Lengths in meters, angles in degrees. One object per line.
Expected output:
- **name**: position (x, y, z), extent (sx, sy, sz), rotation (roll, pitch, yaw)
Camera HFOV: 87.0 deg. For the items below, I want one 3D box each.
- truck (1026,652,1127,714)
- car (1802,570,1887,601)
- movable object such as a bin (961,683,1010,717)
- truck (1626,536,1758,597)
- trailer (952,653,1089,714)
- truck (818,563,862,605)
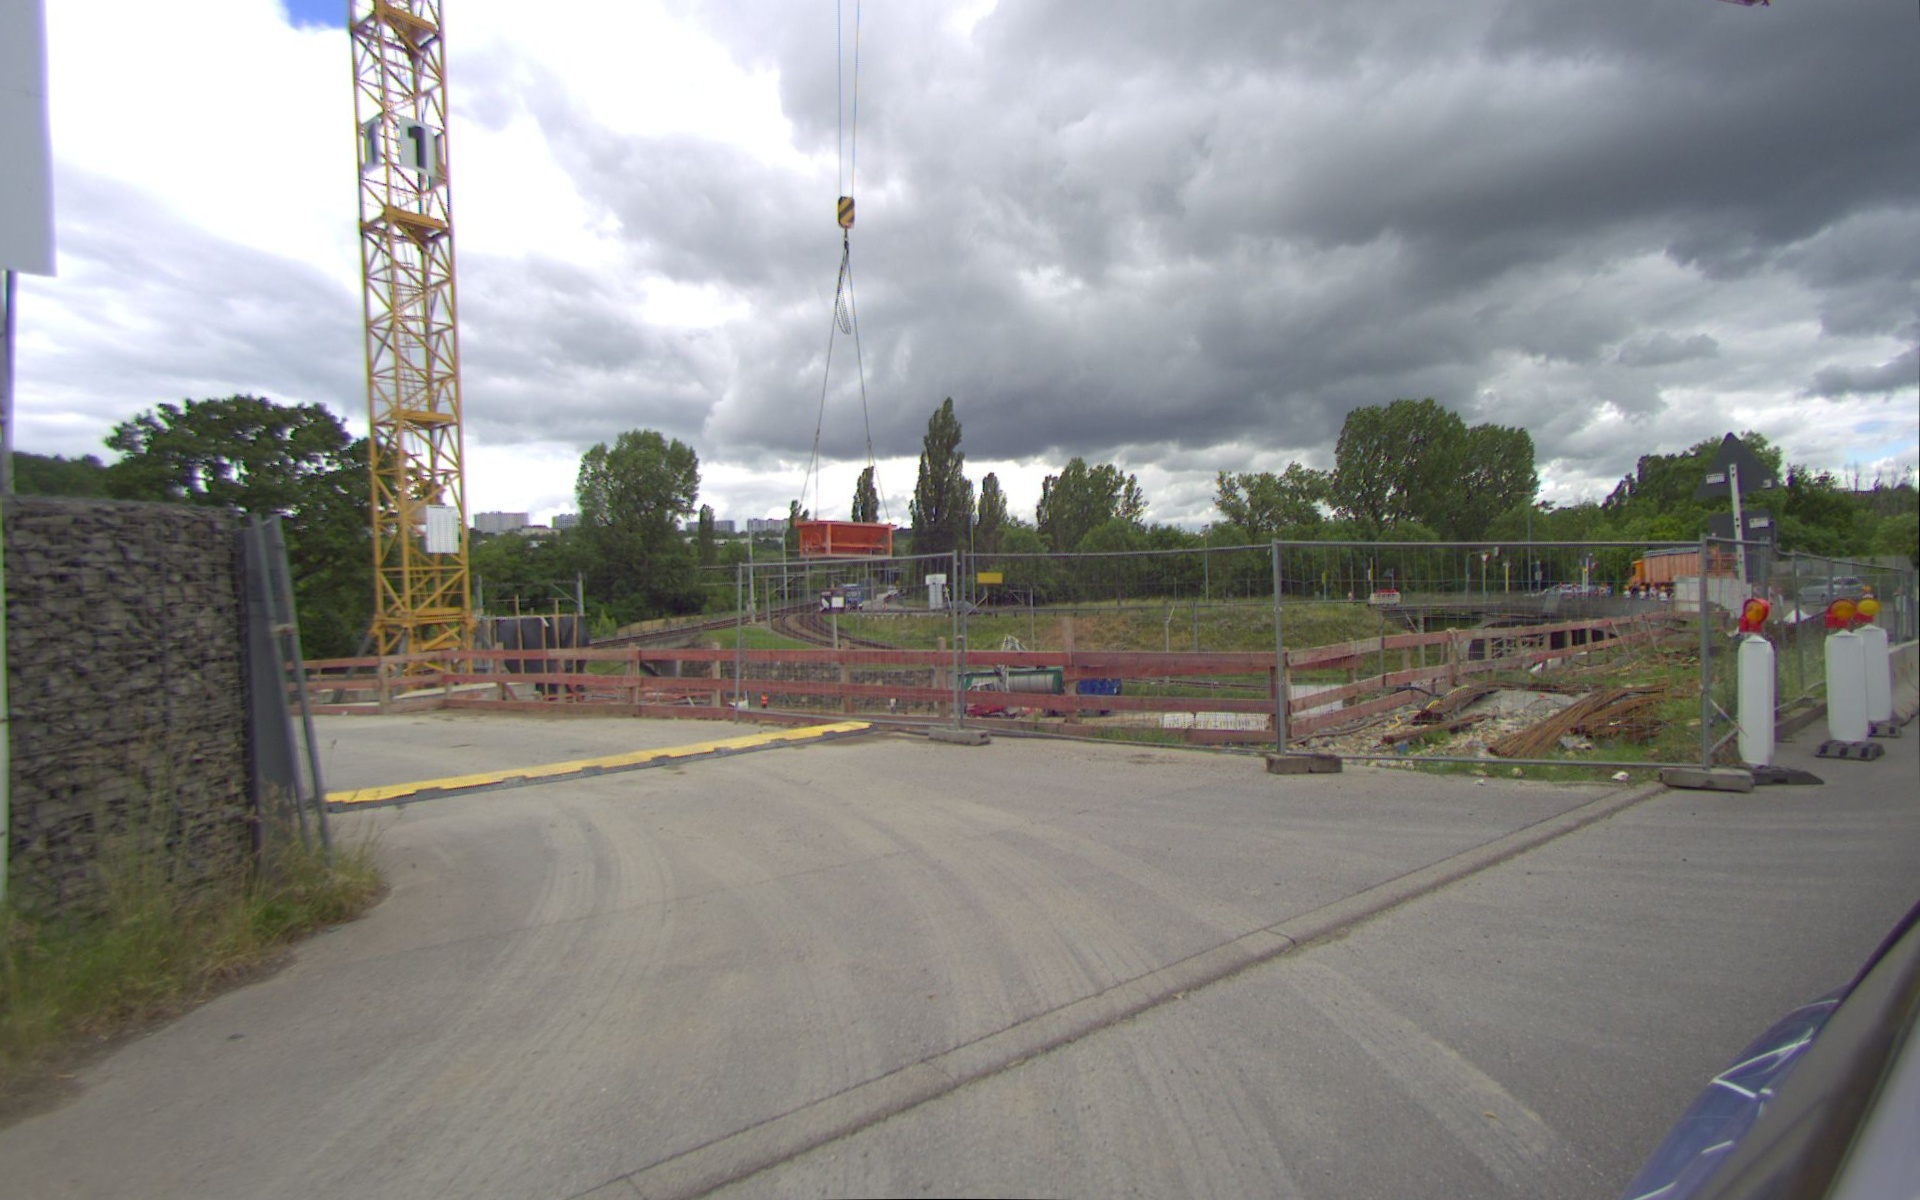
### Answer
- **truck**: position (7.739, 5.530, 67.182), extent (6.072, 3.810, 2.397), rotation (-3, -1, 28)
- **car**: position (48.848, -0.795, 55.987), extent (1.868, 1.583, 4.080), rotation (-3, 0, 16)
- **movable object such as a bin**: position (1.635, 6.368, 64.883), extent (2.402, 1.852, 1.996), rotation (-2, 0, -42)
- **truck**: position (52.116, -2.266, 72.546), extent (2.989, 3.947, 9.984), rotation (-2, 0, 6)
- **trailer**: position (4.056, 5.747, 69.124), extent (9.052, 3.810, 2.396), rotation (-3, -1, 28)
- **truck**: position (-15.531, -2.118, 129.951), extent (2.882, 3.140, 8.211), rotation (-2, 18, -26)
